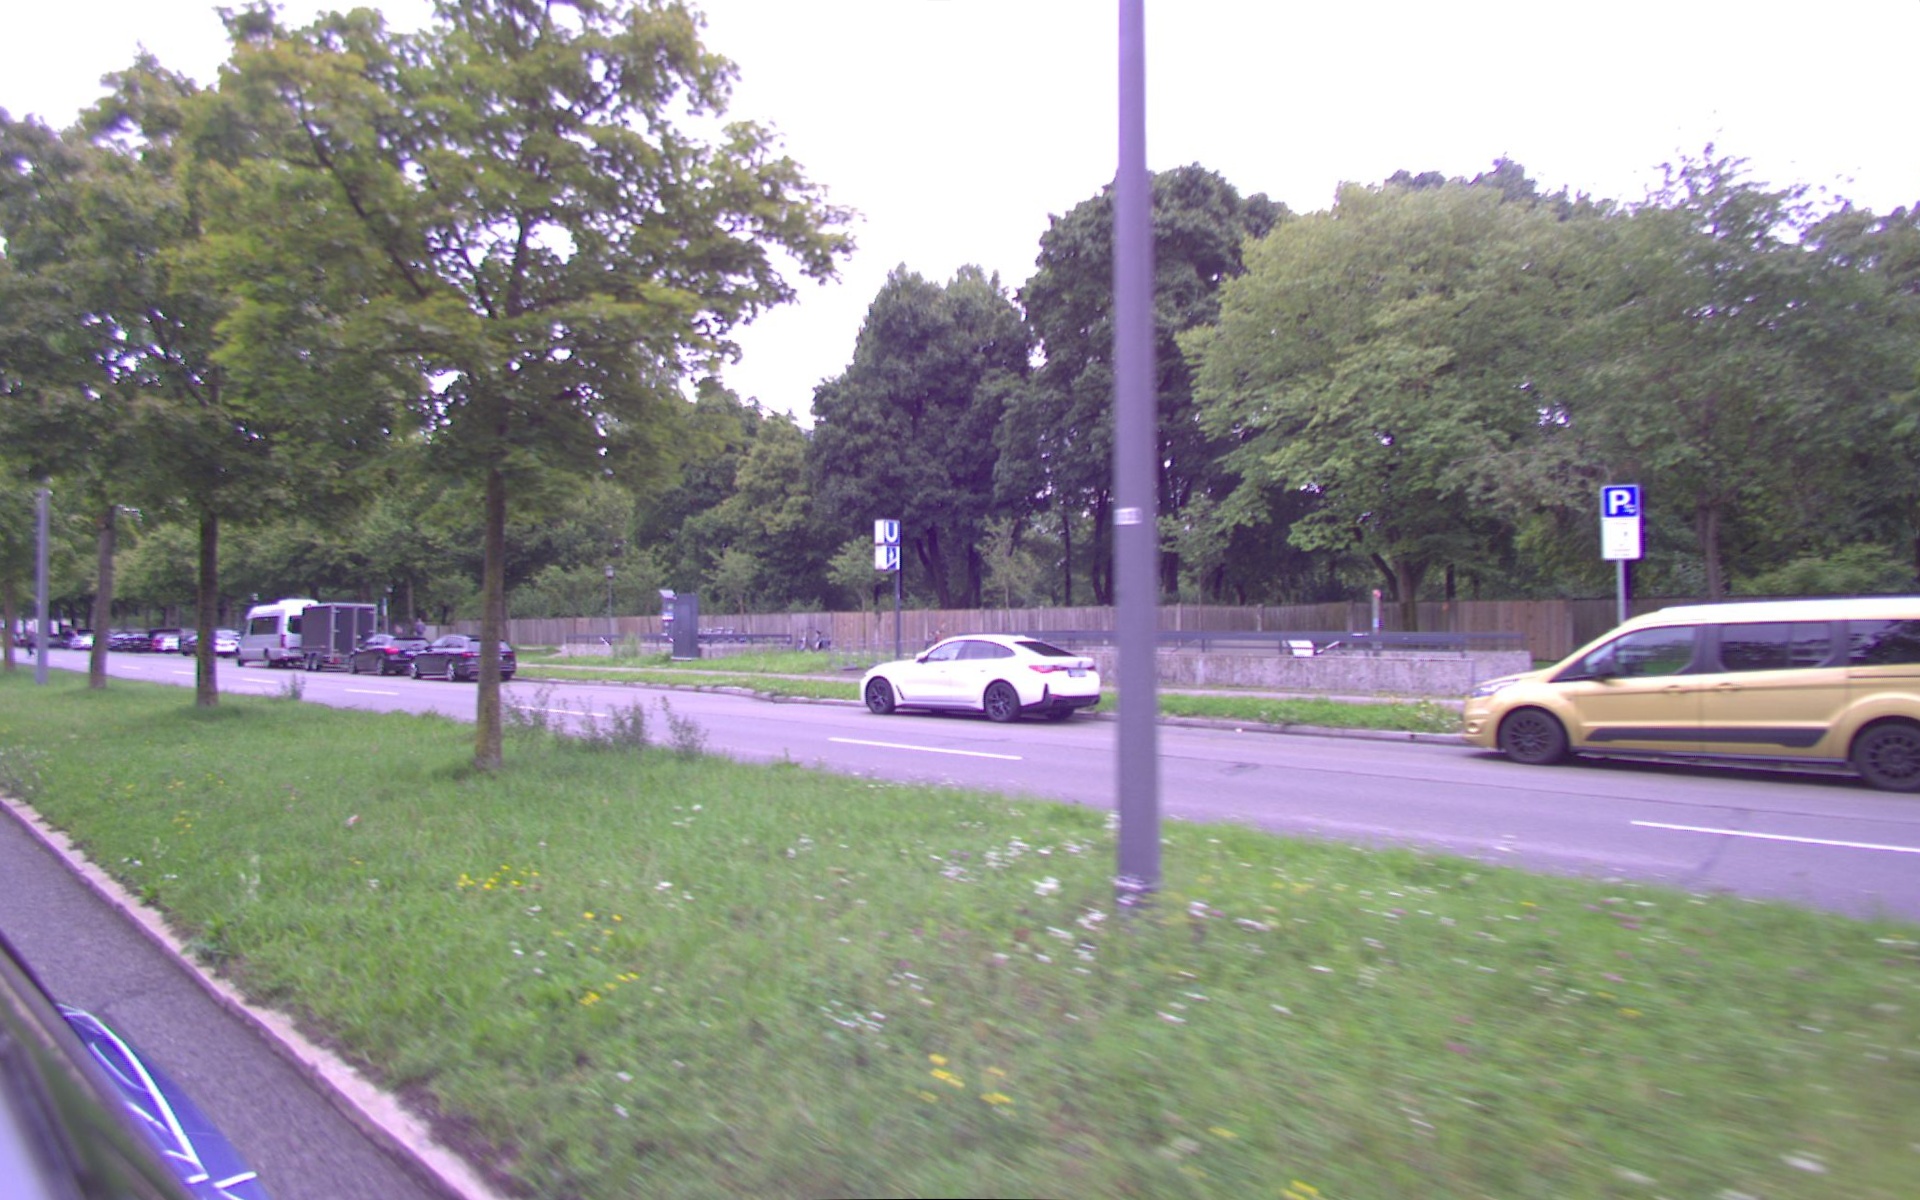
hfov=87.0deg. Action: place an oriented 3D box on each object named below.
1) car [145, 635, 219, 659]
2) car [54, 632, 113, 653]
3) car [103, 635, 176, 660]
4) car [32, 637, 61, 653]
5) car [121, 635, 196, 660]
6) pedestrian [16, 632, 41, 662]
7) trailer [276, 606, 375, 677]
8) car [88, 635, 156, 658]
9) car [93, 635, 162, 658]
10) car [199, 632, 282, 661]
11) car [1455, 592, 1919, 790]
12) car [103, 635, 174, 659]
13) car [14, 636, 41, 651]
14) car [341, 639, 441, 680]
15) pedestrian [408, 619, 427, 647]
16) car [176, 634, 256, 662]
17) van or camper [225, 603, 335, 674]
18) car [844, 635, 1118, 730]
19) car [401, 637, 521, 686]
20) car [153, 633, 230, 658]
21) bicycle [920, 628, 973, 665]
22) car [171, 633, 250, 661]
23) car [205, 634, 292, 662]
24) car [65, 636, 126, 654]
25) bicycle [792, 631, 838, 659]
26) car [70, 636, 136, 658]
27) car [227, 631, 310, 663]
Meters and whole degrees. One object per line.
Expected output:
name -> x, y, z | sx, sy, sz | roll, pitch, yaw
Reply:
car -> -55.619, 3.355, 72.431 | 1.723, 1.466, 3.983 | -2, 0, 13
car -> -79.658, 3.890, 92.030 | 1.760, 1.741, 3.992 | -1, -1, 6
car -> -60.732, 3.485, 74.987 | 1.870, 1.569, 3.990 | -2, 0, 8
car -> -88.796, 4.337, 98.347 | 1.864, 1.454, 4.171 | 0, -1, -45
car -> -58.388, 3.432, 73.784 | 1.873, 1.569, 3.983 | -2, 0, 13
pedestrian -> -53.528, 2.692, 58.161 | 0.859, 1.711, 0.773 | 1, -2, -29
trailer -> -24.973, 1.630, 39.775 | 4.656, 2.610, 1.995 | -2, -4, 41
car -> -67.893, 3.766, 82.077 | 1.870, 1.569, 3.990 | -2, 0, 8
car -> -65.427, 3.636, 79.622 | 1.870, 1.569, 3.990 | -2, 0, 8
car -> -44.187, 2.856, 62.248 | 1.780, 1.585, 4.316 | -1, -1, 6
car -> 8.178, 0.903, 10.892 | 4.816, 1.796, 1.795 | -2, -4, 42
car -> -63.109, 3.605, 77.828 | 1.870, 1.569, 3.990 | -2, 0, 8
car -> -97.858, 4.530, 106.180 | 1.864, 1.454, 4.171 | 0, -1, -45
car -> -20.269, 2.087, 35.998 | 4.236, 1.394, 1.781 | -2, -4, 41
pedestrian -> -34.627, 2.084, 64.637 | 0.872, 1.781, 0.761 | -2, -3, 37
car -> -46.775, 3.005, 63.717 | 1.779, 1.497, 3.993 | -2, 0, 6
van or camper -> -29.511, 1.676, 43.782 | 7.542, 2.859, 2.014 | -2, -4, 41
car -> 0.261, 1.395, 18.119 | 4.871, 1.484, 1.838 | -2, -4, 40
car -> -15.720, 1.898, 31.787 | 4.429, 1.436, 1.781 | -2, -4, 41
car -> -53.360, 3.168, 70.391 | 1.873, 1.474, 3.983 | -2, 0, 13
bicycle -> -0.422, 1.433, 31.334 | 1.825, 1.108, 0.427 | -2, -1, 42
car -> -48.817, 3.031, 66.018 | 1.783, 1.599, 3.985 | -2, 0, 12
car -> -41.741, 2.817, 59.477 | 1.780, 1.449, 4.316 | -1, 0, 6
car -> -74.758, 3.882, 87.575 | 1.574, 1.376, 3.987 | -1, -1, 10
bicycle -> -5.193, 1.599, 36.444 | 0.432, 0.937, 1.801 | -2, -1, 40
car -> -72.284, 3.929, 85.455 | 1.870, 1.569, 3.990 | -2, 0, 8
car -> -39.236, 2.660, 57.561 | 1.779, 1.635, 3.994 | -1, -1, 5
